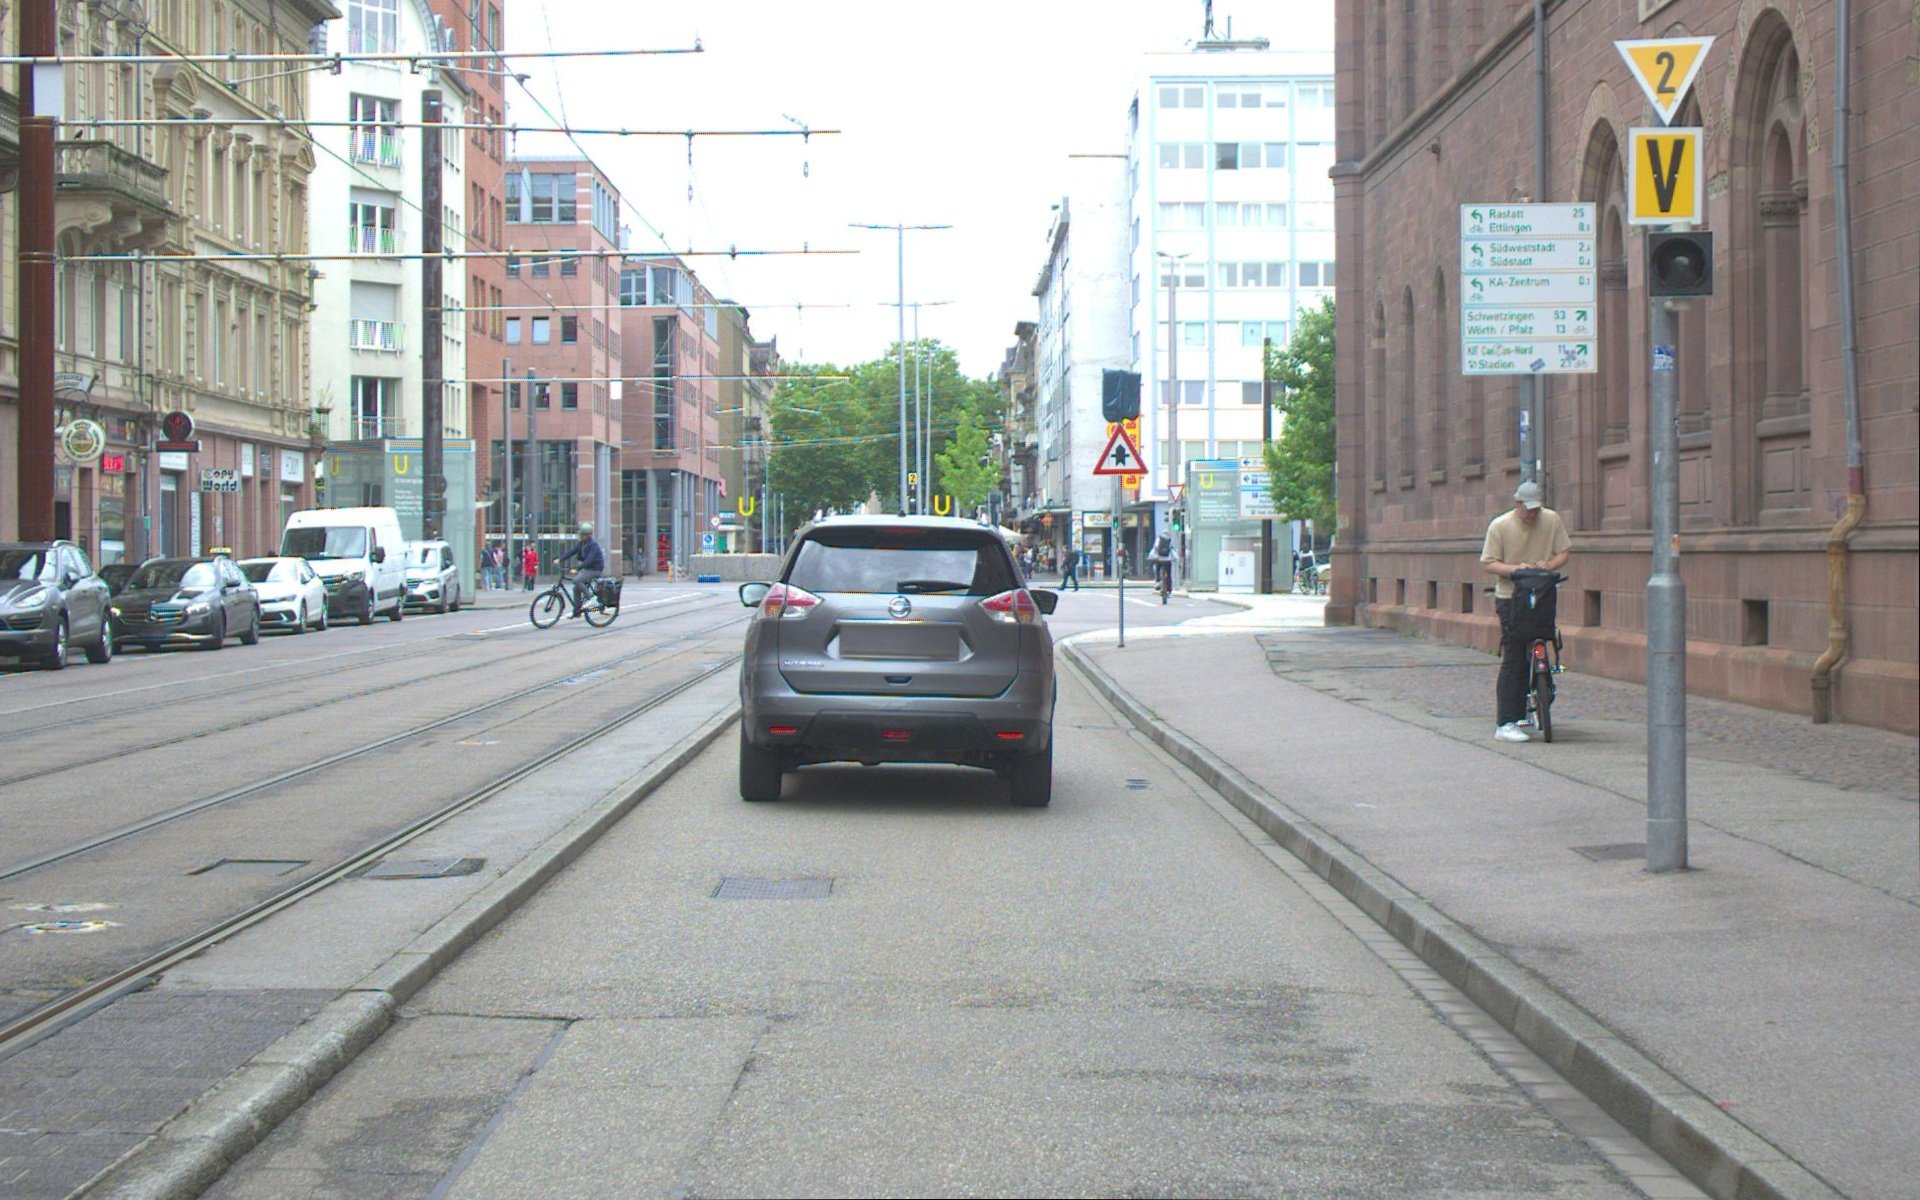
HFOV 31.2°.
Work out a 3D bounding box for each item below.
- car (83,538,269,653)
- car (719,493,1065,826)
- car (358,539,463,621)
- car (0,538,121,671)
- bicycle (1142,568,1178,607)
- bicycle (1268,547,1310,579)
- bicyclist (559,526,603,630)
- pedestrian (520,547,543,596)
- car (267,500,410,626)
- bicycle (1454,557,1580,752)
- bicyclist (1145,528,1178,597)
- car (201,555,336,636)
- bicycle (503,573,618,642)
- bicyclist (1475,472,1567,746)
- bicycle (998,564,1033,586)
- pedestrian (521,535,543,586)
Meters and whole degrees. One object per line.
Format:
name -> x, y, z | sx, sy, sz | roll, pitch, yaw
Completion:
car -> -12.554, -0.095, 55.336 | 1.919, 1.683, 5.053 | -2, 1, -2
car -> -0.360, 0.260, 21.359 | 1.863, 1.768, 4.567 | 2, 2, 0
car -> -13.277, -0.498, 83.319 | 1.902, 1.858, 4.521 | -2, 1, -2
car -> -12.776, 0.029, 46.548 | 1.813, 1.684, 5.032 | -1, 1, -3
bicycle -> 5.360, -0.339, 92.168 | 0.902, 1.041, 3.277 | 0, 0, 2
bicycle -> 10.243, -1.151, 106.962 | 0.659, 0.975, 1.752 | 0, 1, 28
bicyclist -> -6.901, -0.405, 62.618 | 0.645, 1.877, 1.028 | 1, 0, 1
pedestrian -> -14.789, -0.992, 118.601 | 0.720, 1.681, 0.662 | 0, -1, -11
car -> -13.117, -0.789, 72.889 | 2.052, 2.478, 5.666 | -2, 1, -1
bicycle -> 3.835, 0.346, 23.799 | 0.445, 1.272, 2.227 | -2, 1, -1
bicyclist -> 5.394, -1.004, 92.183 | 0.834, 1.806, 0.877 | 1, 0, 2
car -> -13.046, -0.110, 65.090 | 1.771, 1.418, 4.165 | -2, 1, -2
bicycle -> -7.283, 0.134, 62.621 | 2.037, 1.170, 0.587 | -2, 0, -8
bicyclist -> 3.840, 0.056, 23.561 | 0.528, 1.852, 0.450 | -1, 0, -1
bicycle -> 2.711, -1.212, 167.585 | 1.696, 1.062, 0.437 | 1, 0, -1
pedestrian -> -14.319, -1.312, 114.910 | 0.660, 1.681, 0.723 | 0, -1, -13
